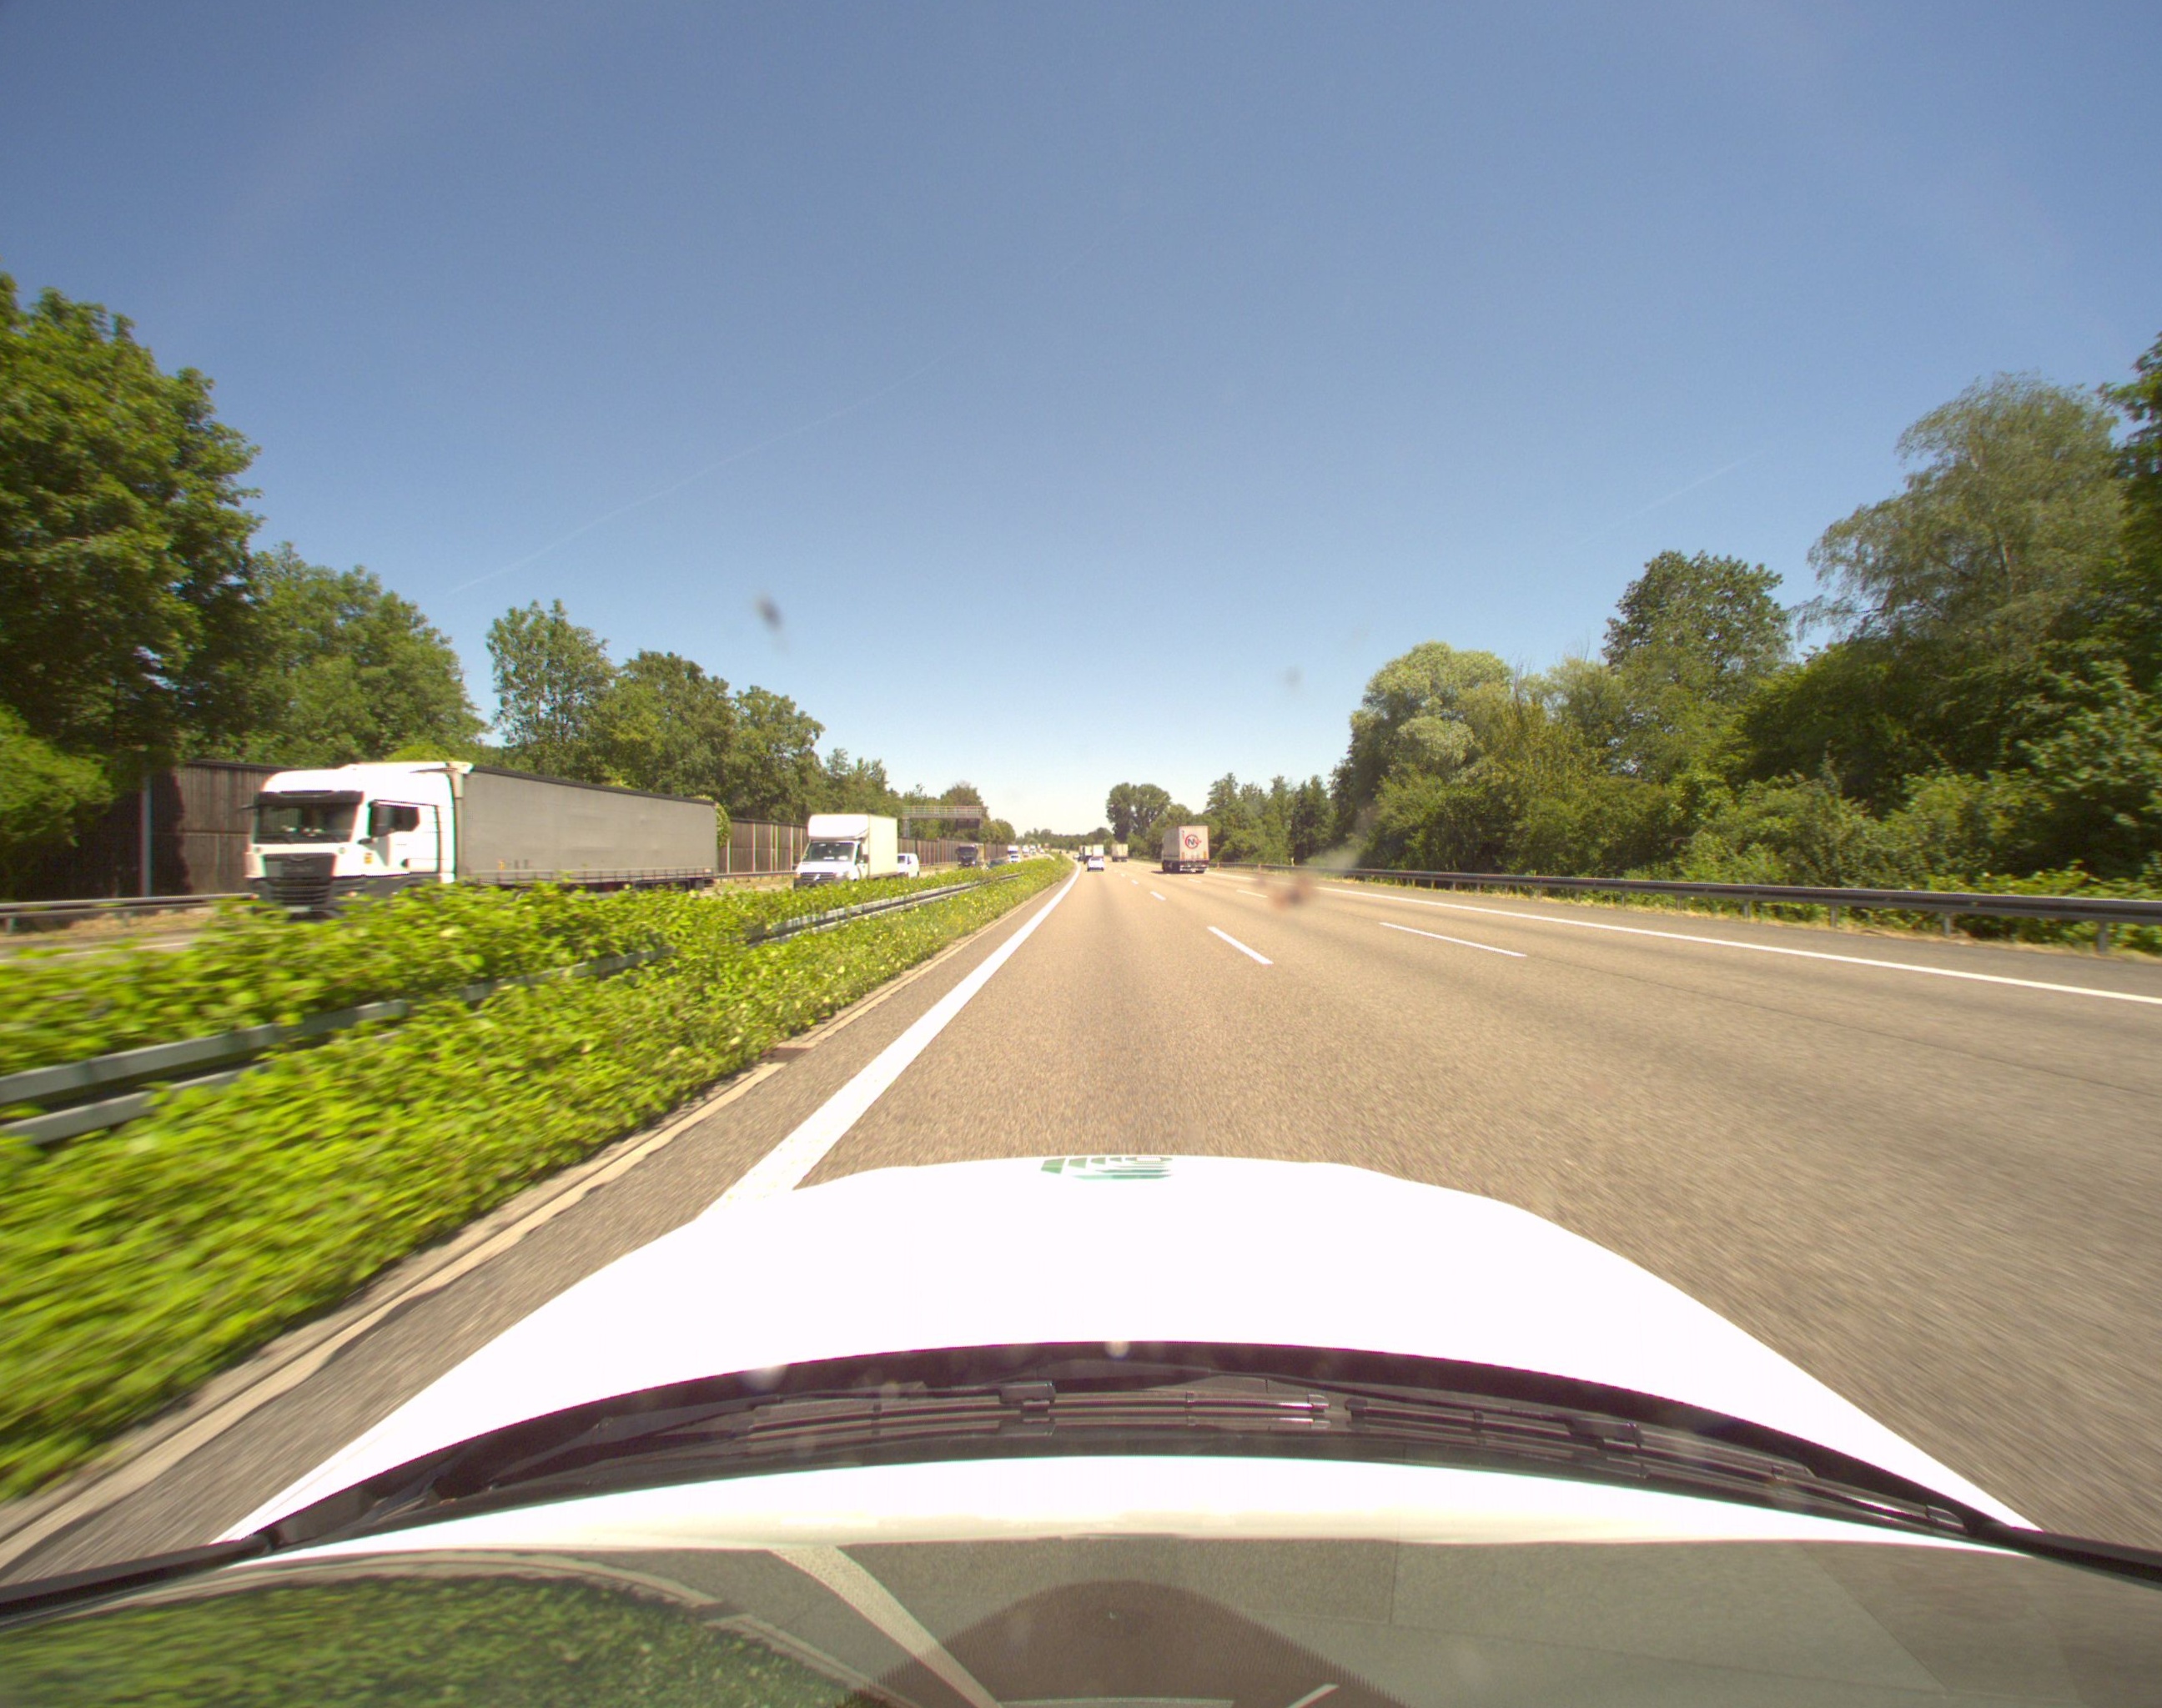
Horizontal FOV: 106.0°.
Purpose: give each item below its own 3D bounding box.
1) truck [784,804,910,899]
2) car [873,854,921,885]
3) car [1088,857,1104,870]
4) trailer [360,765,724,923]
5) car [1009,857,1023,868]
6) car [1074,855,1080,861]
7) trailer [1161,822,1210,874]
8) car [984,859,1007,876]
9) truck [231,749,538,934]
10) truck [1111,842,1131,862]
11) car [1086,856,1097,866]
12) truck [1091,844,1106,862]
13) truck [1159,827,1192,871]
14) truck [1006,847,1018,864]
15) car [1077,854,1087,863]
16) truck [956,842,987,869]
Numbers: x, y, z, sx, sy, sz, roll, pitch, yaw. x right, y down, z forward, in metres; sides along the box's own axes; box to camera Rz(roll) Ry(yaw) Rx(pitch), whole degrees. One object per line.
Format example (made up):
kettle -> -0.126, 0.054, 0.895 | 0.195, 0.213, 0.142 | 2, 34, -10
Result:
truck -> -8.698, -0.079, 31.436 | 2.186, 3.114, 8.535 | -1, 0, 1
car -> -11.487, 0.916, 51.223 | 1.861, 1.820, 4.817 | -1, 0, 1
car -> 1.689, 1.075, 89.398 | 1.708, 1.369, 3.377 | -1, 0, 2
trailer -> -16.451, -0.237, 27.160 | 2.719, 3.909, 13.764 | -1, 0, 1
car -> -11.599, 1.538, 146.135 | 1.987, 2.014, 5.102 | -1, 0, 0
car -> -1.162, 1.223, 246.277 | 1.719, 1.783, 3.996 | -1, 0, -2
trailer -> 9.336, -0.459, 74.115 | 2.616, 4.261, 14.058 | -1, 0, 0
car -> -7.407, 1.150, 70.755 | 1.620, 1.390, 3.913 | -1, 0, 0
truck -> -16.565, -0.264, 19.989 | 2.677, 3.895, 5.573 | -1, 0, 1
truck -> 8.867, -0.328, 182.243 | 3.483, 4.311, 10.980 | -1, 0, -2
car -> 1.983, 1.334, 154.077 | 1.988, 1.772, 3.998 | -1, 0, -1
truck -> 4.387, -0.231, 204.690 | 3.349, 4.311, 10.827 | -1, 0, 0
truck -> 9.353, -0.478, 80.987 | 2.598, 4.287, 5.434 | -1, 0, 0
truck -> -17.273, 0.302, 203.112 | 2.513, 4.066, 6.367 | -1, 0, -1
car -> 0.209, 1.093, 194.105 | 1.989, 2.013, 3.996 | -1, 0, -3
truck -> -15.273, 0.271, 114.484 | 2.860, 3.605, 9.952 | -1, 0, 1
